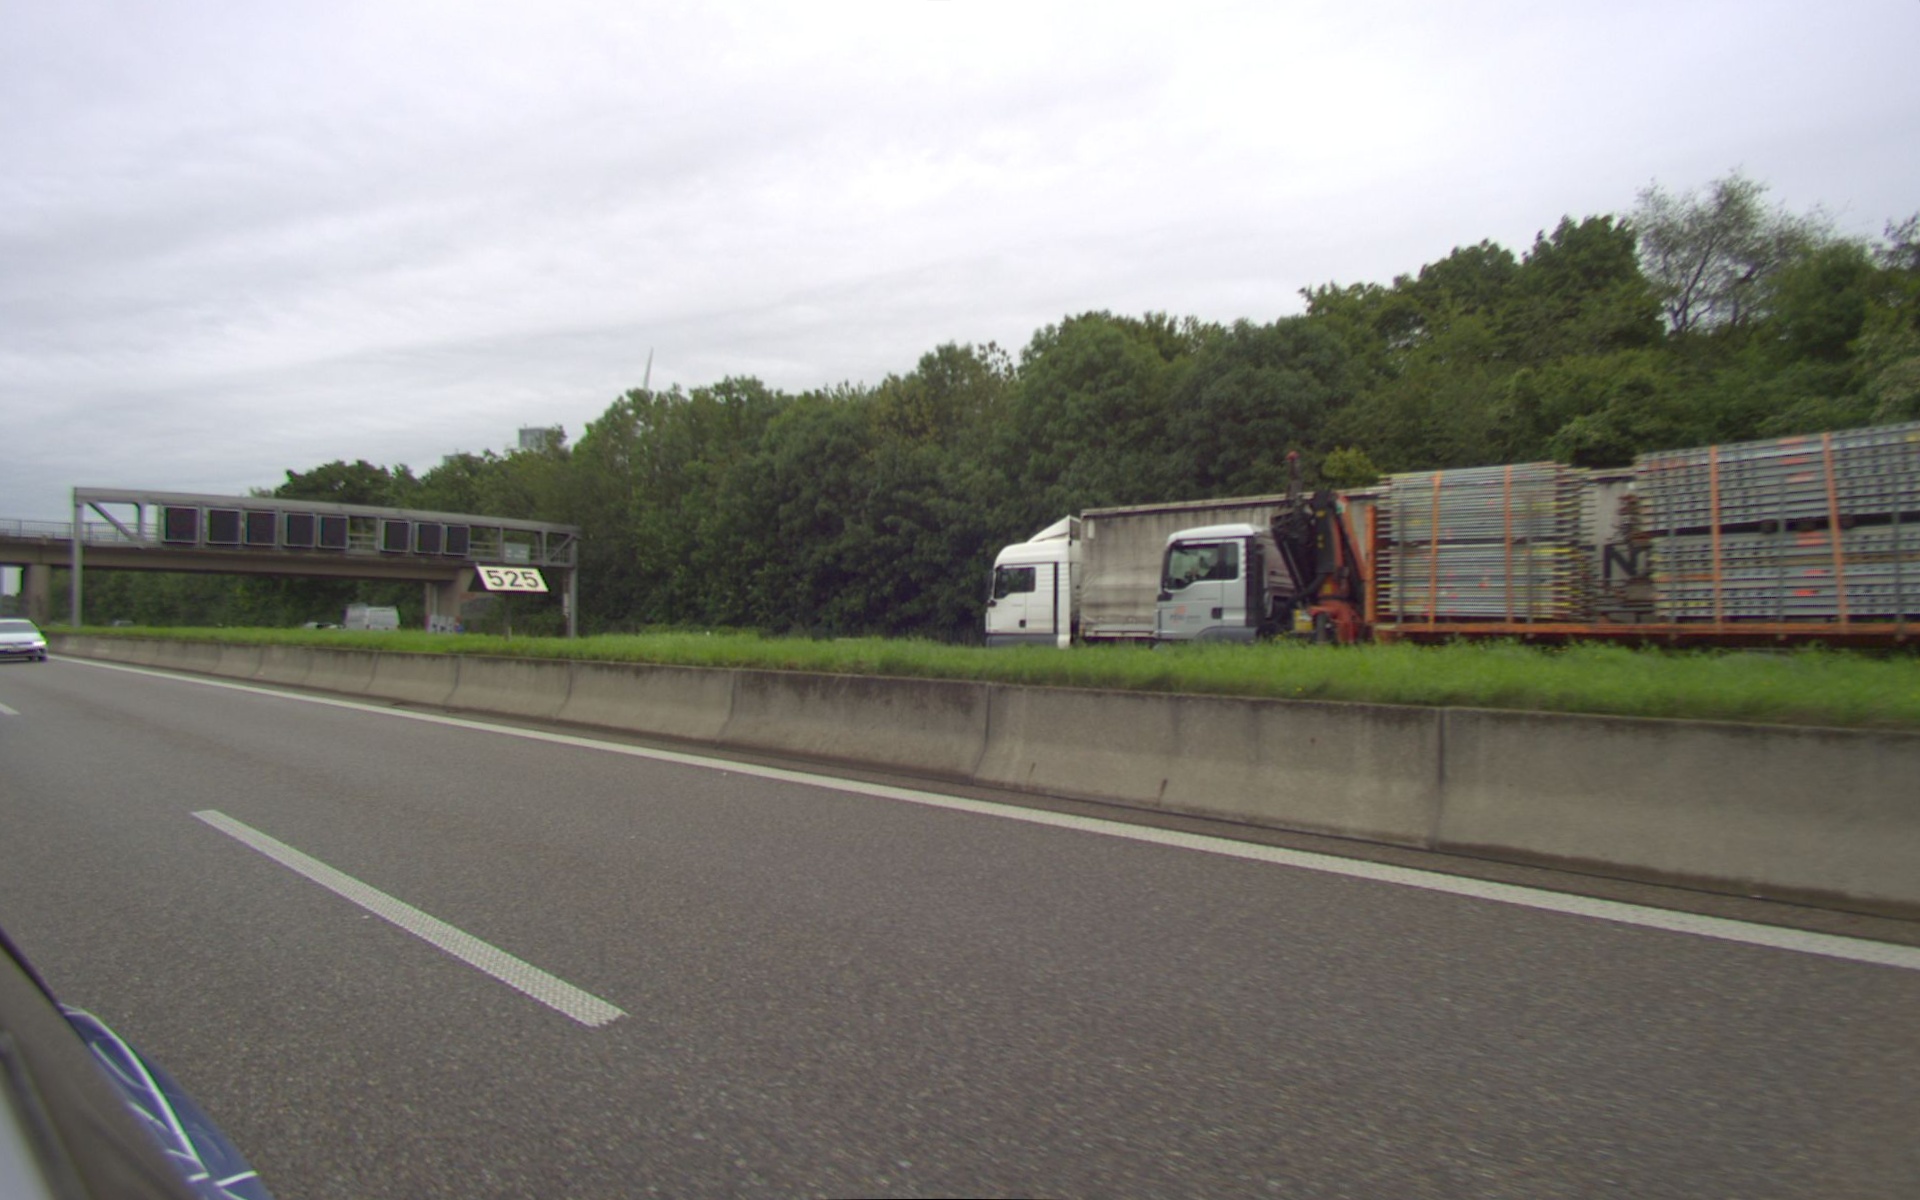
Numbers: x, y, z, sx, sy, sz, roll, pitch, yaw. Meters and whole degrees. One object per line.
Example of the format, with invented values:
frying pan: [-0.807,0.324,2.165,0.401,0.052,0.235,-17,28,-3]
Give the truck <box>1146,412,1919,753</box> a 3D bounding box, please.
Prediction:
truck: [8.187,-0.160,13.748,11.179,3.492,2.920,-1,0,41]

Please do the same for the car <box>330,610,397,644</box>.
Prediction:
car: [-39.953,1.759,67.716,6.064,2.100,2.173,-1,0,42]

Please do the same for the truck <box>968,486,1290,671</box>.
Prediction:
truck: [3.618,-0.395,22.837,6.757,3.578,2.639,-1,0,41]

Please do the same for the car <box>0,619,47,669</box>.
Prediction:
car: [-32.789,1.485,34.658,4.661,1.630,1.735,-1,-2,41]

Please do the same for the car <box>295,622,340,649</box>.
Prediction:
car: [-52.339,2.847,82.367,4.364,2.029,1.972,-1,0,42]

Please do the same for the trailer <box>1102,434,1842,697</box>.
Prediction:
trailer: [8.353,-0.421,18.646,11.866,3.566,2.657,-1,0,42]

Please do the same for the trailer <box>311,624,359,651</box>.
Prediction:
trailer: [-48.991,2.905,79.280,5.177,2.029,1.972,-1,0,43]
